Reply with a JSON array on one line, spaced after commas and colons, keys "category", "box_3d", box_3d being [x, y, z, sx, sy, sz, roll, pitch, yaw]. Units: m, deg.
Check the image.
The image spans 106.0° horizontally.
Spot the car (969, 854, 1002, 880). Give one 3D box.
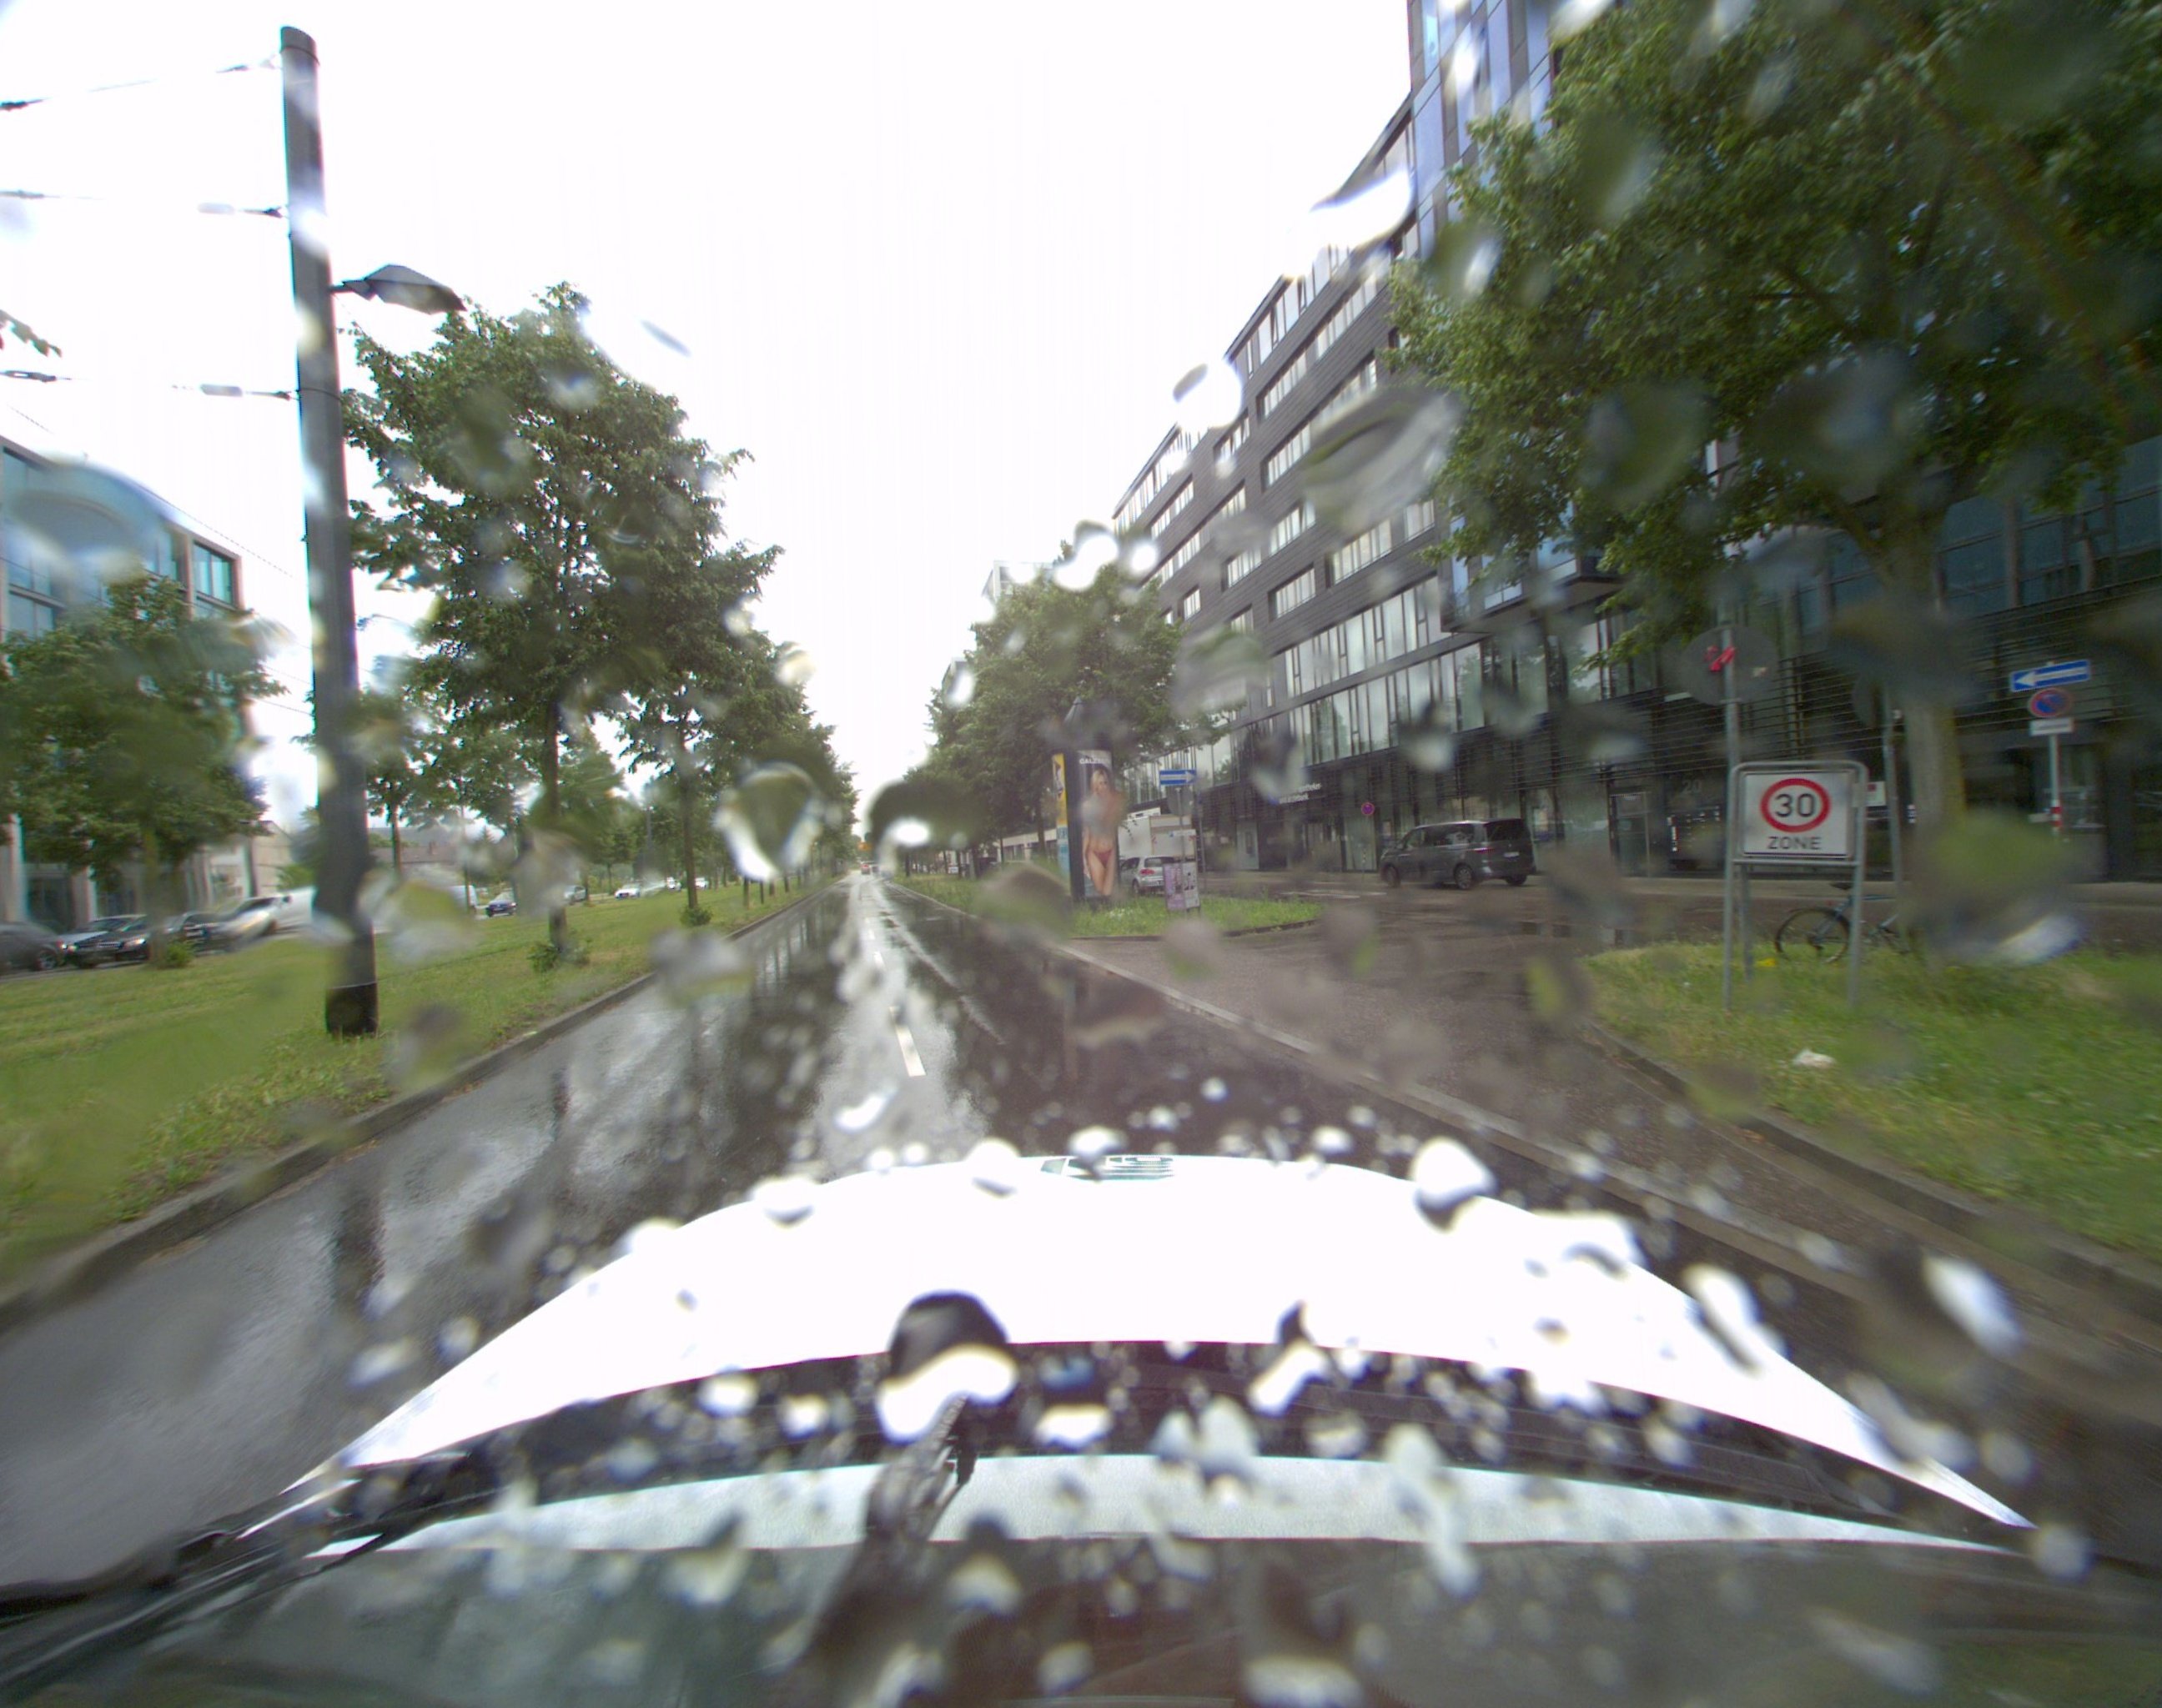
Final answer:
[{"category": "car", "box_3d": [-8.114, 1.045, 68.984, 1.997, 1.952, 5.004, -3, 2, -15]}]

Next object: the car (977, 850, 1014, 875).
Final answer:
[{"category": "car", "box_3d": [-6.558, 0.591, 62.141, 1.997, 1.669, 4.933, -3, 2, -15]}]

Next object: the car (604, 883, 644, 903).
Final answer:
[{"category": "car", "box_3d": [-39.697, 3.366, 70.849, 1.955, 1.513, 4.551, -3, 0, -16]}]

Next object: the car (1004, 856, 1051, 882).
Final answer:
[{"category": "car", "box_3d": [-3.379, 0.886, 50.639, 1.774, 1.452, 4.695, -2, 0, -18]}]

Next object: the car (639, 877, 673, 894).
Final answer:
[{"category": "car", "box_3d": [-41.582, 3.063, 79.802, 1.955, 1.452, 4.551, -3, 0, -16]}]

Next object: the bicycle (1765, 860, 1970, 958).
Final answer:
[{"category": "bicycle", "box_3d": [7.913, 0.558, 8.244, 1.446, 0.917, 0.435, -2, 2, 16]}]

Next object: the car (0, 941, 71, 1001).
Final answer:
[{"category": "car", "box_3d": [-31.438, 3.491, 22.654, 1.863, 1.446, 4.598, -3, 2, -17]}]

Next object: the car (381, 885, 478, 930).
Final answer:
[{"category": "car", "box_3d": [-37.728, 3.056, 47.385, 2.272, 2.006, 5.347, -3, 2, -14]}]

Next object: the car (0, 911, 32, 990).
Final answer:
[{"category": "car", "box_3d": [-26.645, 2.419, 17.929, 1.955, 1.848, 4.519, -3, 1, -16]}]

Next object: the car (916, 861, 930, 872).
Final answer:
[{"category": "car", "box_3d": [-26.481, 2.068, 136.589, 1.885, 1.505, 4.700, -3, 2, -15]}]

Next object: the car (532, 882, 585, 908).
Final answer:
[{"category": "car", "box_3d": [-41.339, 3.236, 64.541, 1.953, 1.749, 4.556, -3, 0, -12]}]

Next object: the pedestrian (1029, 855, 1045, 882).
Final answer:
[{"category": "pedestrian", "box_3d": [-2.449, 0.801, 45.143, 0.700, 1.493, 0.640, -3, 0, -18]}]

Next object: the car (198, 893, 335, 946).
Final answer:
[{"category": "car", "box_3d": [-34.848, 2.736, 35.070, 1.956, 1.651, 5.000, -3, 2, -17]}]

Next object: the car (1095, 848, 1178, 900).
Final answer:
[{"category": "car", "box_3d": [1.946, 0.663, 29.823, 1.764, 1.596, 4.079, -3, 2, -15]}]

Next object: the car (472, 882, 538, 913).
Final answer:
[{"category": "car", "box_3d": [-35.266, 2.648, 49.969, 1.954, 1.494, 3.942, -3, 2, -15]}]

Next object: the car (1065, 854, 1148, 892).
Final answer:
[{"category": "car", "box_3d": [1.014, 0.818, 36.235, 1.999, 1.444, 5.204, -3, 0, -18]}]

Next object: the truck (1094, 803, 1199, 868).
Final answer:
[{"category": "truck", "box_3d": [3.689, -0.946, 48.491, 3.033, 3.441, 8.495, -3, 0, -18]}]

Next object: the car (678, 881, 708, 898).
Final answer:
[{"category": "car", "box_3d": [-45.836, 4.175, 96.321, 1.952, 1.460, 4.812, -3, 2, -12]}]

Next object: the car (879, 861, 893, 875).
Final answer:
[{"category": "car", "box_3d": [-31.479, 2.291, 131.489, 1.944, 2.013, 3.980, -3, 2, -15]}]

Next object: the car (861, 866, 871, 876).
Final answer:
[{"category": "car", "box_3d": [-49.627, 3.819, 187.607, 1.996, 2.013, 3.983, -3, 2, -13]}]

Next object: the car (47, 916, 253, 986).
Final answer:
[{"category": "car", "box_3d": [-28.622, 2.915, 25.302, 1.955, 1.385, 4.580, -3, 2, -16]}]

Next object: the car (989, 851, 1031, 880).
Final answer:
[{"category": "car", "box_3d": [-4.957, 0.754, 56.113, 1.997, 1.669, 4.700, -3, 2, -15]}]

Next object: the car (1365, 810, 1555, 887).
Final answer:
[{"category": "car", "box_3d": [10.749, -0.117, 23.611, 1.999, 1.920, 5.118, -3, 0, -18]}]

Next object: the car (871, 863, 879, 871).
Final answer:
[{"category": "car", "box_3d": [-60.670, 3.905, 239.602, 1.996, 2.013, 3.983, -3, 2, -13]}]

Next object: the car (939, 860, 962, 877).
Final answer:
[{"category": "car", "box_3d": [-14.794, 1.620, 92.276, 1.997, 1.669, 4.700, -3, 2, -15]}]
